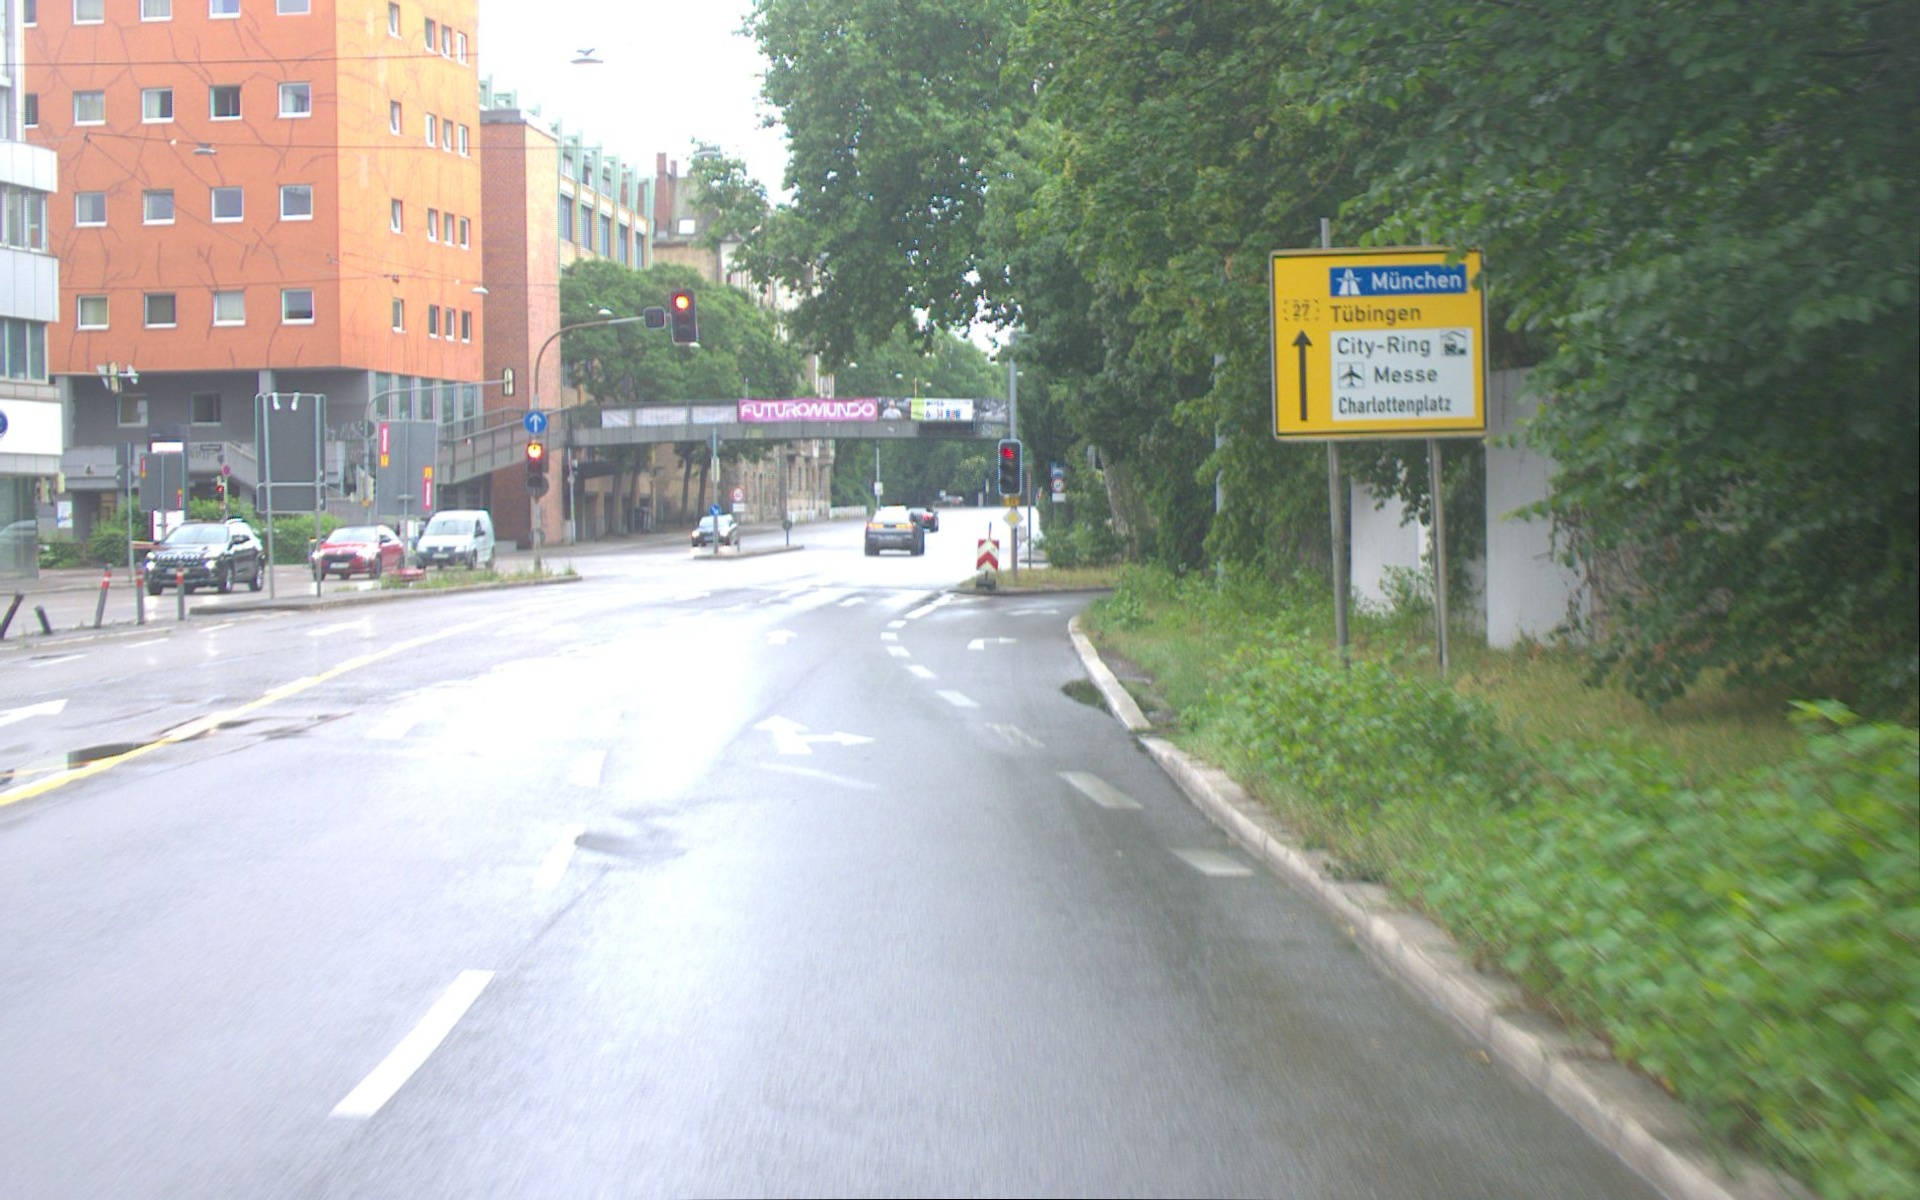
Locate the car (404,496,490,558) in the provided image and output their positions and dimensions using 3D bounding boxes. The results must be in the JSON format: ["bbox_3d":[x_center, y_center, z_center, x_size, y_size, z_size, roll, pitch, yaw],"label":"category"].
[{"bbox_3d":[-15.600,-2.241,104.694,1.734,1.780,4.301,-2,2,3],"label":"car"}]

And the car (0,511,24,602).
[{"bbox_3d":[-17.478,-0.697,57.842,1.808,1.553,4.300,-1,1,7],"label":"car"}]

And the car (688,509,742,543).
[{"bbox_3d":[-11.153,-3.365,156.645,1.994,1.514,4.000,0,2,2],"label":"car"}]

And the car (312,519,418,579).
[{"bbox_3d":[-16.057,-1.388,92.935,1.830,1.497,4.373,-2,2,3],"label":"car"}]

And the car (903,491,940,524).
[{"bbox_3d":[-2.051,-4.946,183.039,1.763,1.691,3.706,-2,2,2],"label":"car"}]

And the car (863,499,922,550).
[{"bbox_3d":[-2.499,-2.835,128.785,2.120,1.728,4.199,1,3,-1],"label":"car"}]

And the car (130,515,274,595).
[{"bbox_3d":[-17.164,-1.052,78.080,1.846,1.731,4.604,-1,1,5],"label":"car"}]
